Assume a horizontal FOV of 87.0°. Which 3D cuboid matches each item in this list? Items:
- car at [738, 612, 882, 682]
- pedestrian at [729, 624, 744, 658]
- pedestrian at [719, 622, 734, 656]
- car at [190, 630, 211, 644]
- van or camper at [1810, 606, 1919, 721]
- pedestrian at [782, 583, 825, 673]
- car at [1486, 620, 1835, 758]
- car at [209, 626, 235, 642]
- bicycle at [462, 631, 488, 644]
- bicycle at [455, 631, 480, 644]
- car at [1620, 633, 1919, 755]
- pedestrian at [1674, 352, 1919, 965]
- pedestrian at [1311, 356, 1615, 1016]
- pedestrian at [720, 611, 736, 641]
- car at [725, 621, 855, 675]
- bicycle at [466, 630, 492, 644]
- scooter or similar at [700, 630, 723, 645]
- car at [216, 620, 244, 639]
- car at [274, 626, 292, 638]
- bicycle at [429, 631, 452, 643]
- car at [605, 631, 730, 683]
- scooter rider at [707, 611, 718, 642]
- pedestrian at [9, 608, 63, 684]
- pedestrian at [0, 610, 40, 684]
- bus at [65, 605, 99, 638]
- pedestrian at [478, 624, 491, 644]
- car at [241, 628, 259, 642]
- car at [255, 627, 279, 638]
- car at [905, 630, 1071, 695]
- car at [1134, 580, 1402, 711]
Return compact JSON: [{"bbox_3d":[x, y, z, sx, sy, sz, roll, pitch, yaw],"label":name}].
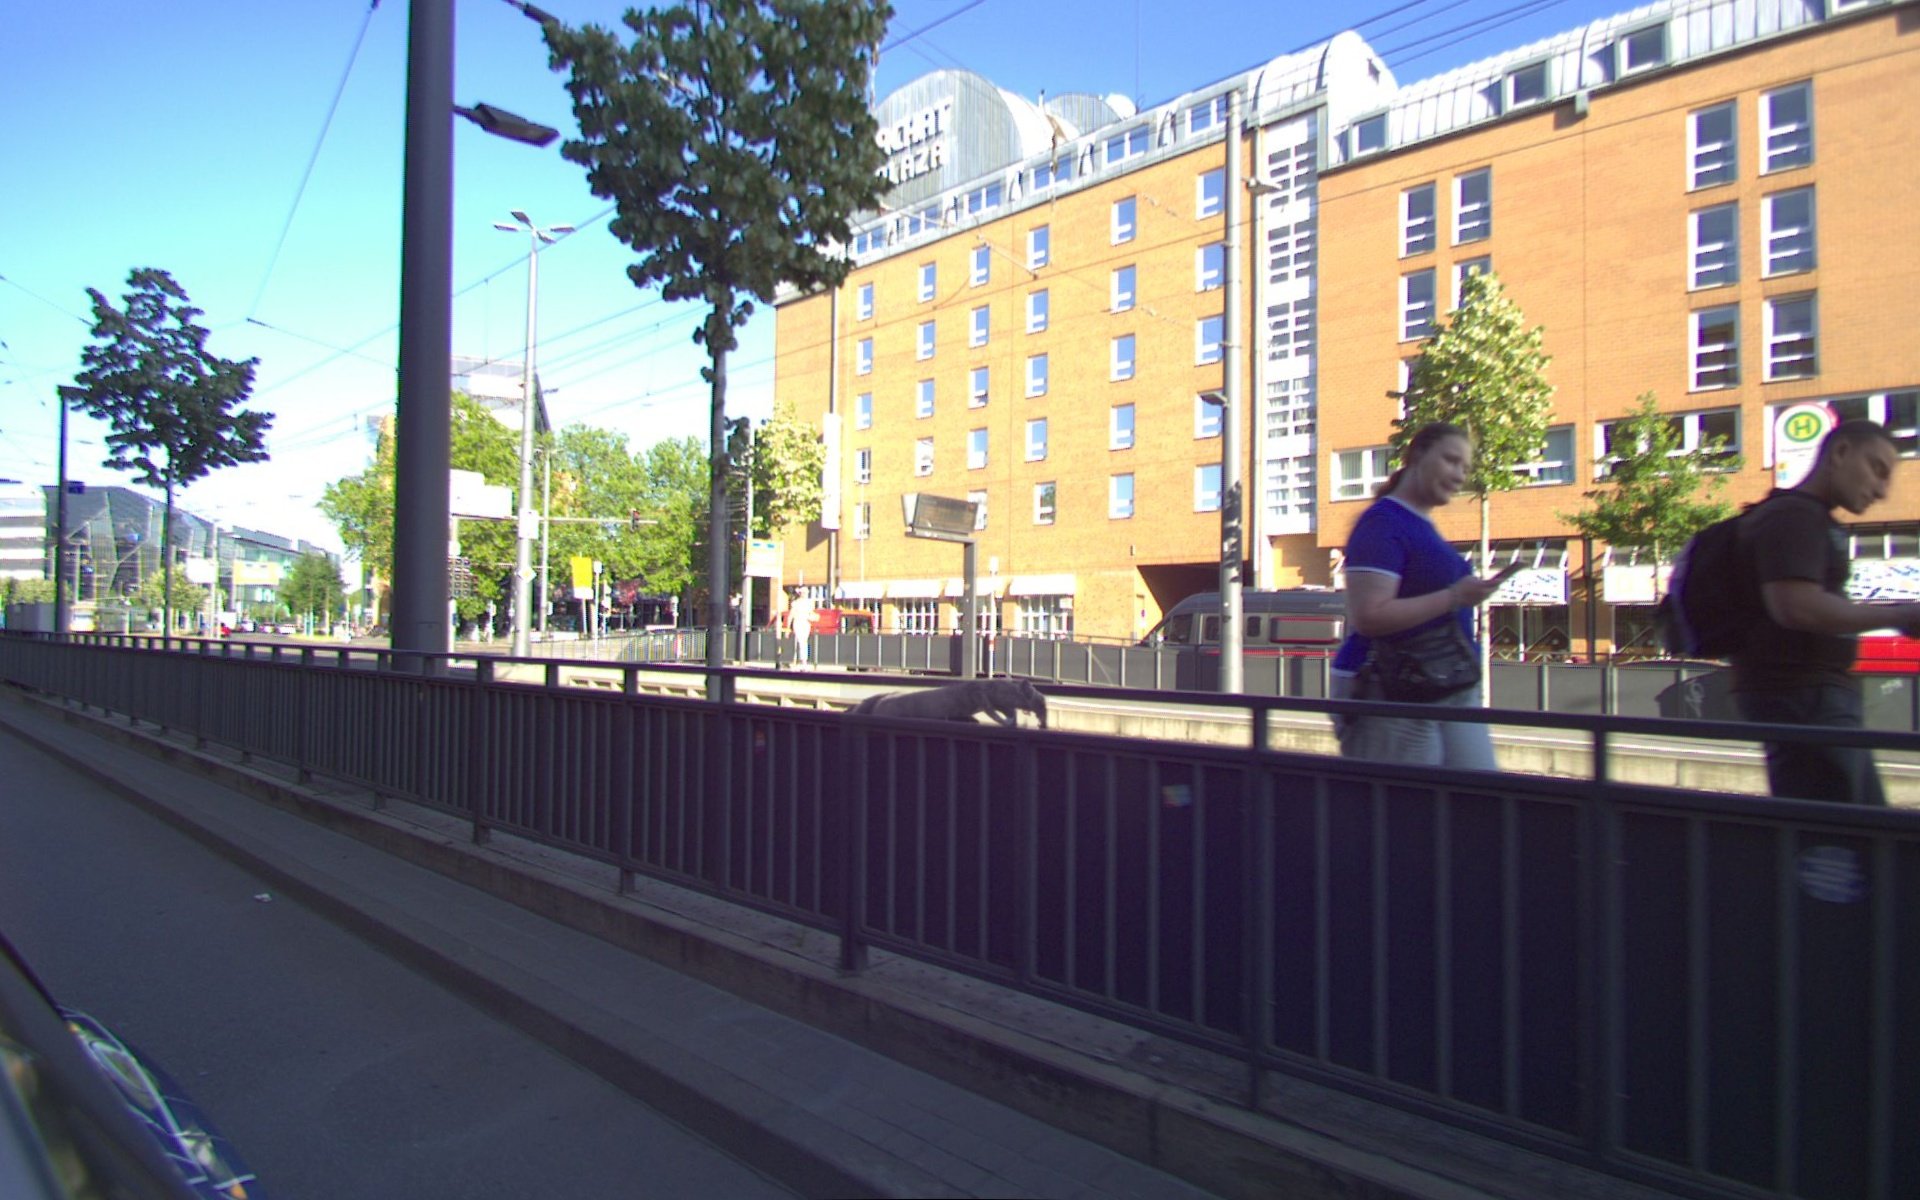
[{"bbox_3d":[-5.358,1.614,35.749,5.261,2.306,2.057,-1,-2,40],"label":"car"},{"bbox_3d":[-11.581,2.108,52.370,0.630,1.731,0.780,1,-2,-20],"label":"pedestrian"},{"bbox_3d":[-12.249,2.049,53.115,0.630,1.731,0.780,1,-2,-20],"label":"pedestrian"},{"bbox_3d":[-80.577,3.899,107.387,1.610,1.463,4.007,2,-3,-39],"label":"car"},{"bbox_3d":[19.960,1.187,19.250,5.616,2.186,1.971,-4,-4,44],"label":"van or camper"},{"bbox_3d":[-3.010,0.548,19.499,0.667,1.696,0.578,1,-2,-24],"label":"pedestrian"},{"bbox_3d":[10.949,1.313,16.025,4.314,1.881,1.866,-2,-4,42],"label":"car"},{"bbox_3d":[-67.977,3.169,93.201,1.665,1.439,4.006,2,-3,-40],"label":"car"},{"bbox_3d":[-41.887,3.218,87.410,1.815,1.138,0.776,3,-3,-43],"label":"bicycle"},{"bbox_3d":[-43.211,3.283,88.829,1.815,1.138,0.776,3,-3,-43],"label":"bicycle"},{"bbox_3d":[14.128,1.537,17.478,4.313,1.881,1.866,-2,-4,41],"label":"car"},{"bbox_3d":[2.537,0.148,2.757,0.674,1.494,0.830,2,-2,-43],"label":"pedestrian"},{"bbox_3d":[1.465,0.225,3.112,0.666,1.685,0.886,0,-2,16],"label":"pedestrian"},{"bbox_3d":[-14.851,1.662,64.726,0.733,1.910,0.649,2,-2,-35],"label":"pedestrian"},{"bbox_3d":[-5.311,1.486,31.385,3.997,1.544,1.867,-2,-4,40],"label":"car"},{"bbox_3d":[-41.275,3.190,86.794,1.815,1.138,0.776,3,-3,-43],"label":"bicycle"},{"bbox_3d":[-14.090,2.105,57.447,1.218,0.837,0.546,1,-2,-17],"label":"scooter or similar"},{"bbox_3d":[-96.797,3.966,134.288,1.965,2.499,5.993,1,-3,-26],"label":"car"},{"bbox_3d":[-96.670,4.591,144.449,1.833,1.645,4.276,2,-3,-30],"label":"car"},{"bbox_3d":[-45.443,3.232,88.502,1.672,1.044,0.550,2,-3,-39],"label":"bicycle"},{"bbox_3d":[-8.909,1.709,30.689,3.997,1.459,1.739,-2,-4,40],"label":"car"},{"bbox_3d":[-14.079,1.513,57.486,0.561,1.768,0.536,1,-2,-16],"label":"scooter rider"},{"bbox_3d":[-21.553,1.066,23.603,0.774,1.731,0.636,0,-2,26],"label":"pedestrian"},{"bbox_3d":[-20.131,0.987,21.488,0.703,1.550,0.854,2,-2,-32],"label":"pedestrian"},{"bbox_3d":[-97.581,2.505,112.416,2.684,3.434,9.679,2,-4,-42],"label":"bus"},{"bbox_3d":[-42.222,3.017,89.864,0.878,1.778,0.733,2,-4,-34],"label":"pedestrian"},{"bbox_3d":[-103.835,5.120,148.059,1.584,2.029,3.899,2,-2,-28],"label":"car"},{"bbox_3d":[-100.748,4.752,147.189,1.833,1.645,4.276,1,-3,-19],"label":"car"},{"bbox_3d":[0.664,1.562,25.932,3.997,1.544,1.867,-2,-4,40],"label":"car"},{"bbox_3d":[6.244,0.900,20.897,4.918,2.376,2.024,-1,-3,41],"label":"car"}]
